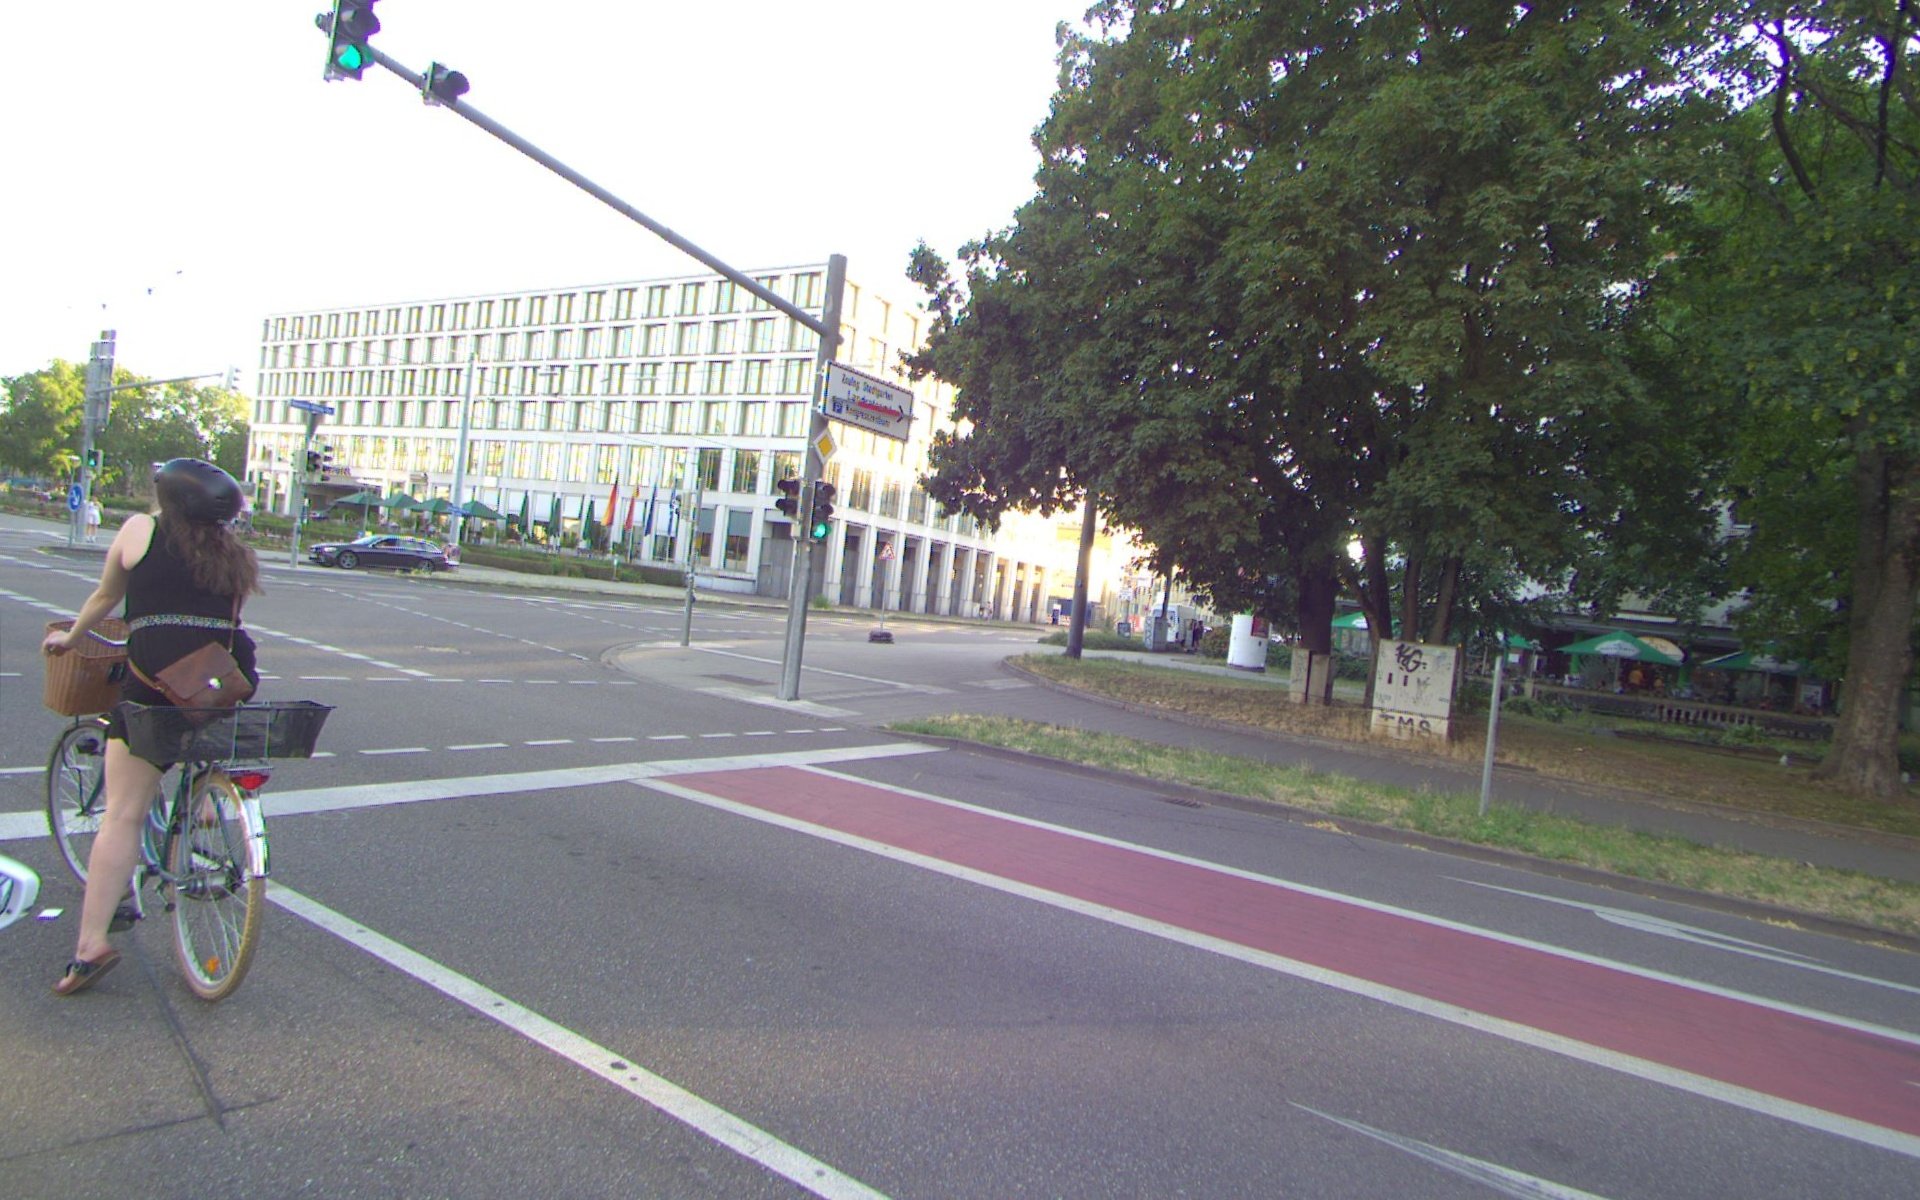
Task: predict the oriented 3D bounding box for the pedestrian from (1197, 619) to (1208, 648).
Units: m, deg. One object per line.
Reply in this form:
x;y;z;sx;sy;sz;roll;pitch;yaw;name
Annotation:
13.415;1.847;55.652;0.302;1.525;0.336;7;-1;31;pedestrian

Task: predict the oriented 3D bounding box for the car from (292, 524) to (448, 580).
-23.028;-1.834;39.476;1.968;1.534;4.826;7;0;34;car

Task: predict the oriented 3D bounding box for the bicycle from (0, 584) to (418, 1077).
-2.776;0.622;3.445;1.971;1.146;0.612;7;-1;32;bicycle

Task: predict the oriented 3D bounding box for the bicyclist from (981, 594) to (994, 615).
2.137;0.381;78.190;0.567;1.556;0.708;7;1;29;bicyclist

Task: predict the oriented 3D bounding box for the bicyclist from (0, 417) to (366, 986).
-2.692;0.274;3.425;0.982;1.655;0.600;7;0;32;bicyclist

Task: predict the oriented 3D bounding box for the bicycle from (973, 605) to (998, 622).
1.961;1.078;77.991;0.592;1.120;2.775;7;0;29;bicycle

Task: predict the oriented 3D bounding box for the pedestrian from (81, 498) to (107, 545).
-30.207;-2.737;35.108;0.402;1.559;0.491;7;2;31;pedestrian

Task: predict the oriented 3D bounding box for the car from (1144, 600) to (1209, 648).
12.003;1.358;55.503;1.967;2.318;4.605;6;0;31;car
